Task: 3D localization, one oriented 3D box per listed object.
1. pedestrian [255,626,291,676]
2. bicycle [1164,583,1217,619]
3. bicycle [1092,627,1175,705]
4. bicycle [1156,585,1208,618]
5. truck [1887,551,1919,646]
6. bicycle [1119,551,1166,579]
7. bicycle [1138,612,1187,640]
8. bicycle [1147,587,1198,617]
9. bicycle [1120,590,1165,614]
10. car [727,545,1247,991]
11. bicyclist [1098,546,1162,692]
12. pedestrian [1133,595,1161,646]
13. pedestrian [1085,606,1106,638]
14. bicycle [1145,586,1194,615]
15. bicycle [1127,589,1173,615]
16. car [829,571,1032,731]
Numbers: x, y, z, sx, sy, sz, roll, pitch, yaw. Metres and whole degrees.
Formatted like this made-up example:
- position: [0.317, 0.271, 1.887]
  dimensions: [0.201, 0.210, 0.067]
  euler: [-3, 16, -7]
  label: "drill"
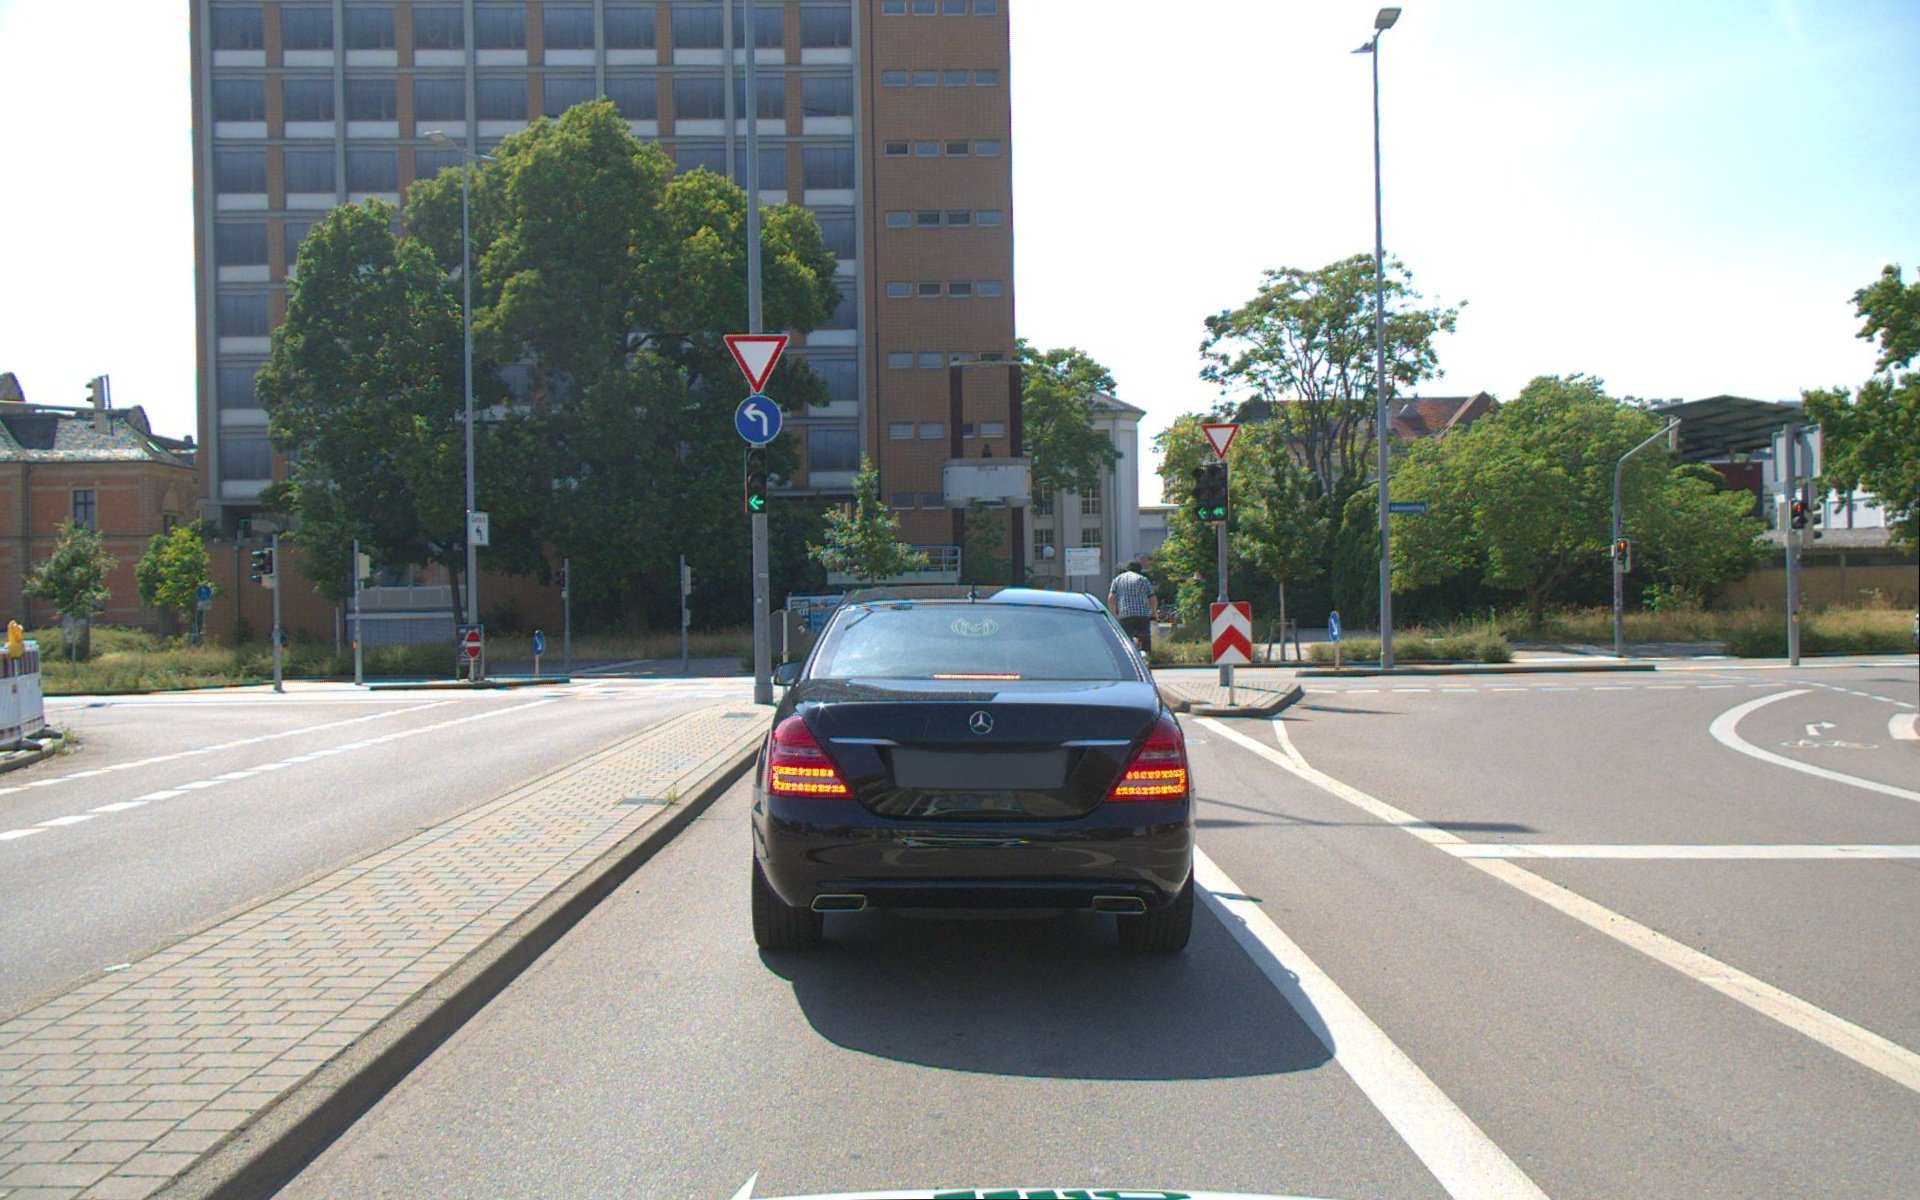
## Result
- position: [-24.587, 1.829, 59.165]
  dimensions: [0.781, 1.756, 0.873]
  euler: [-2, -1, 22]
  label: "pedestrian"
- position: [12.756, 0.051, 91.694]
  dimensions: [2.766, 1.868, 0.841]
  euler: [-2, 0, -2]
  label: "bicycle"
- position: [2.286, 0.855, 22.002]
  dimensions: [0.679, 0.963, 1.955]
  euler: [1, 0, -7]
  label: "bicycle"
- position: [12.592, 0.081, 93.951]
  dimensions: [2.766, 1.775, 0.841]
  euler: [-2, 0, -2]
  label: "bicycle"
- position: [27.665, -0.127, 41.946]
  dimensions: [6.881, 2.397, 2.413]
  euler: [-2, -2, 0]
  label: "truck"
- position: [11.270, -2.158, 102.384]
  dimensions: [2.766, 1.586, 0.841]
  euler: [-2, 0, -2]
  label: "bicycle"
- position: [12.053, 1.568, 98.525]
  dimensions: [2.766, 1.564, 0.841]
  euler: [-2, 0, -2]
  label: "bicycle"
- position: [12.273, 0.107, 95.423]
  dimensions: [2.766, 1.678, 0.841]
  euler: [-2, 0, -2]
  label: "bicycle"
- position: [11.739, 0.128, 106.594]
  dimensions: [2.765, 1.506, 0.841]
  euler: [-2, 0, 0]
  label: "bicycle"
- position: [0.086, 0.605, 8.199]
  dimensions: [1.821, 1.557, 4.713]
  euler: [1, 0, 0]
  label: "car"
- position: [2.271, 0.255, 22.117]
  dimensions: [0.673, 1.911, 0.858]
  euler: [0, 0, -7]
  label: "bicyclist"
- position: [5.957, 0.648, 52.617]
  dimensions: [0.794, 1.607, 0.692]
  euler: [-1, -1, 1]
  label: "pedestrian"
- position: [5.240, 0.850, 63.731]
  dimensions: [0.776, 1.235, 0.758]
  euler: [1, 0, 6]
  label: "pedestrian"
- position: [12.353, 0.040, 97.476]
  dimensions: [2.766, 1.615, 0.841]
  euler: [-2, 0, -2]
  label: "bicycle"
- position: [12.010, 0.136, 104.704]
  dimensions: [2.766, 1.526, 0.841]
  euler: [-2, 0, -2]
  label: "bicycle"
- position: [-0.319, 0.505, 18.121]
  dimensions: [1.953, 1.534, 3.999]
  euler: [1, 0, -1]
  label: "car"
